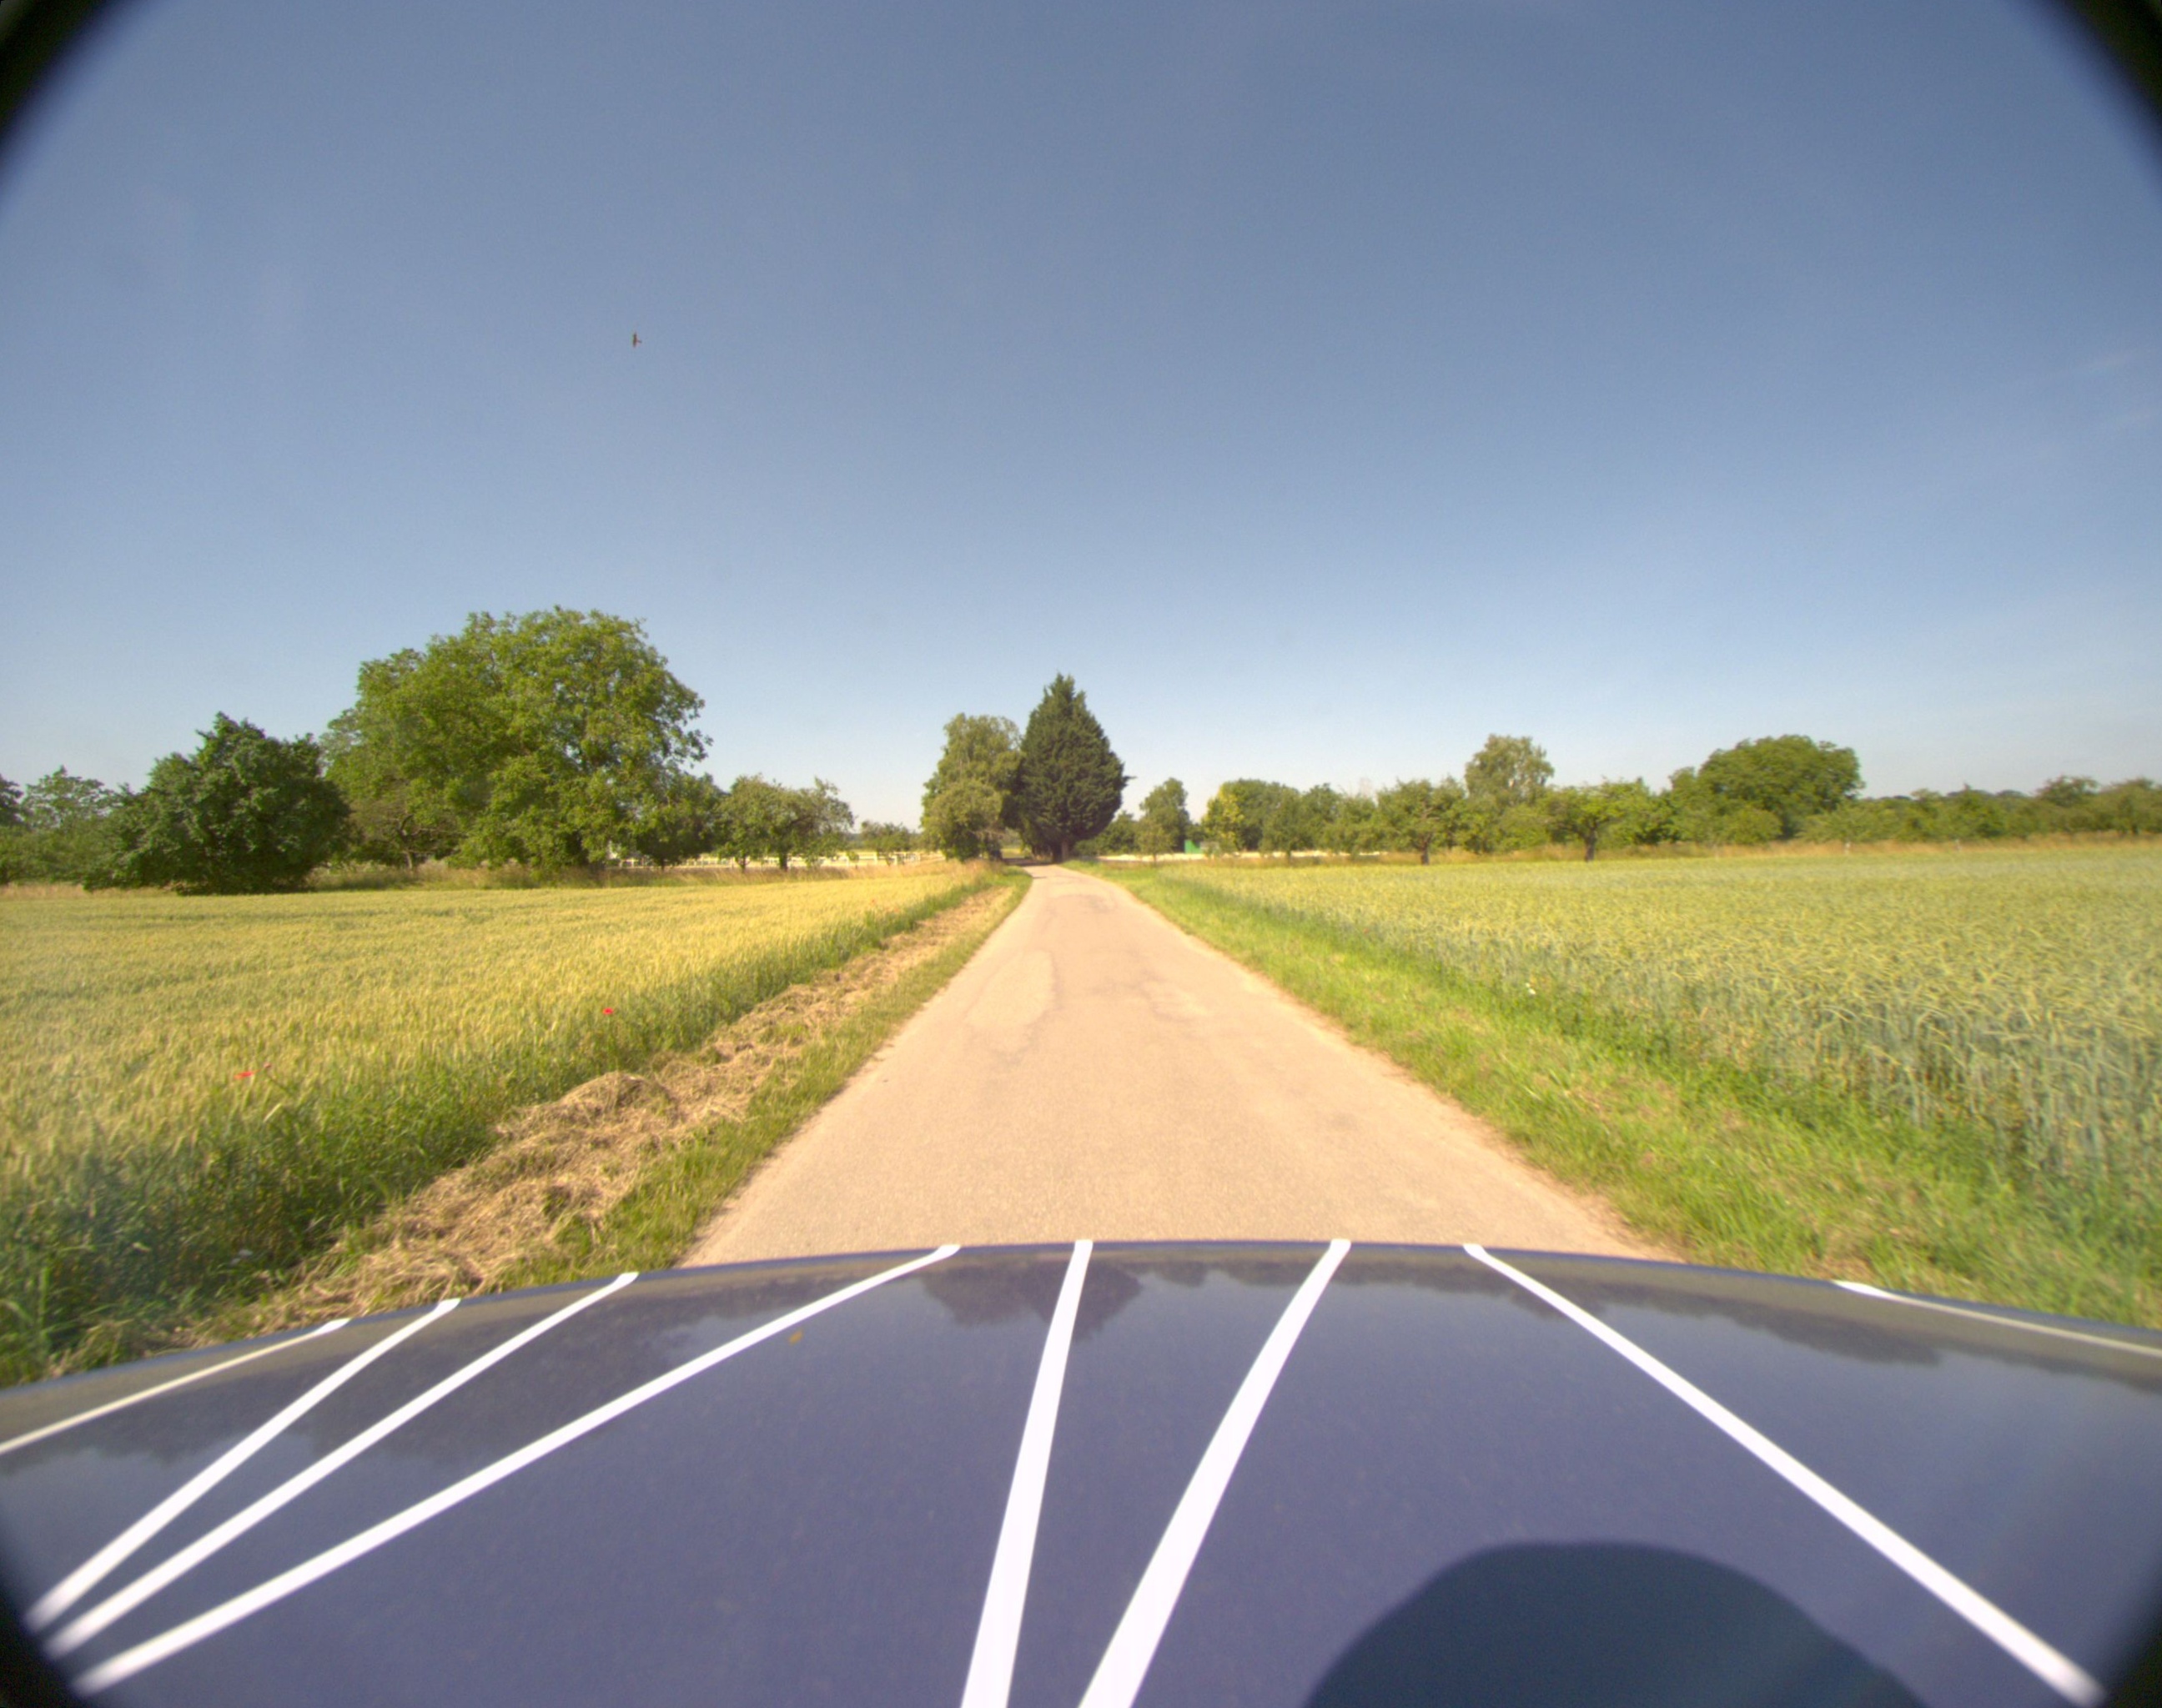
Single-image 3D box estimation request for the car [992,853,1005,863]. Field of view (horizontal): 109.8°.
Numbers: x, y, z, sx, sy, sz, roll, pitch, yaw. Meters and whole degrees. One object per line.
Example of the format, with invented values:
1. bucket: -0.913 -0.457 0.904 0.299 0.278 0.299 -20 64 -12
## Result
1. car: -11.694 0.512 107.635 1.723 1.312 3.740 -1 1 -9
